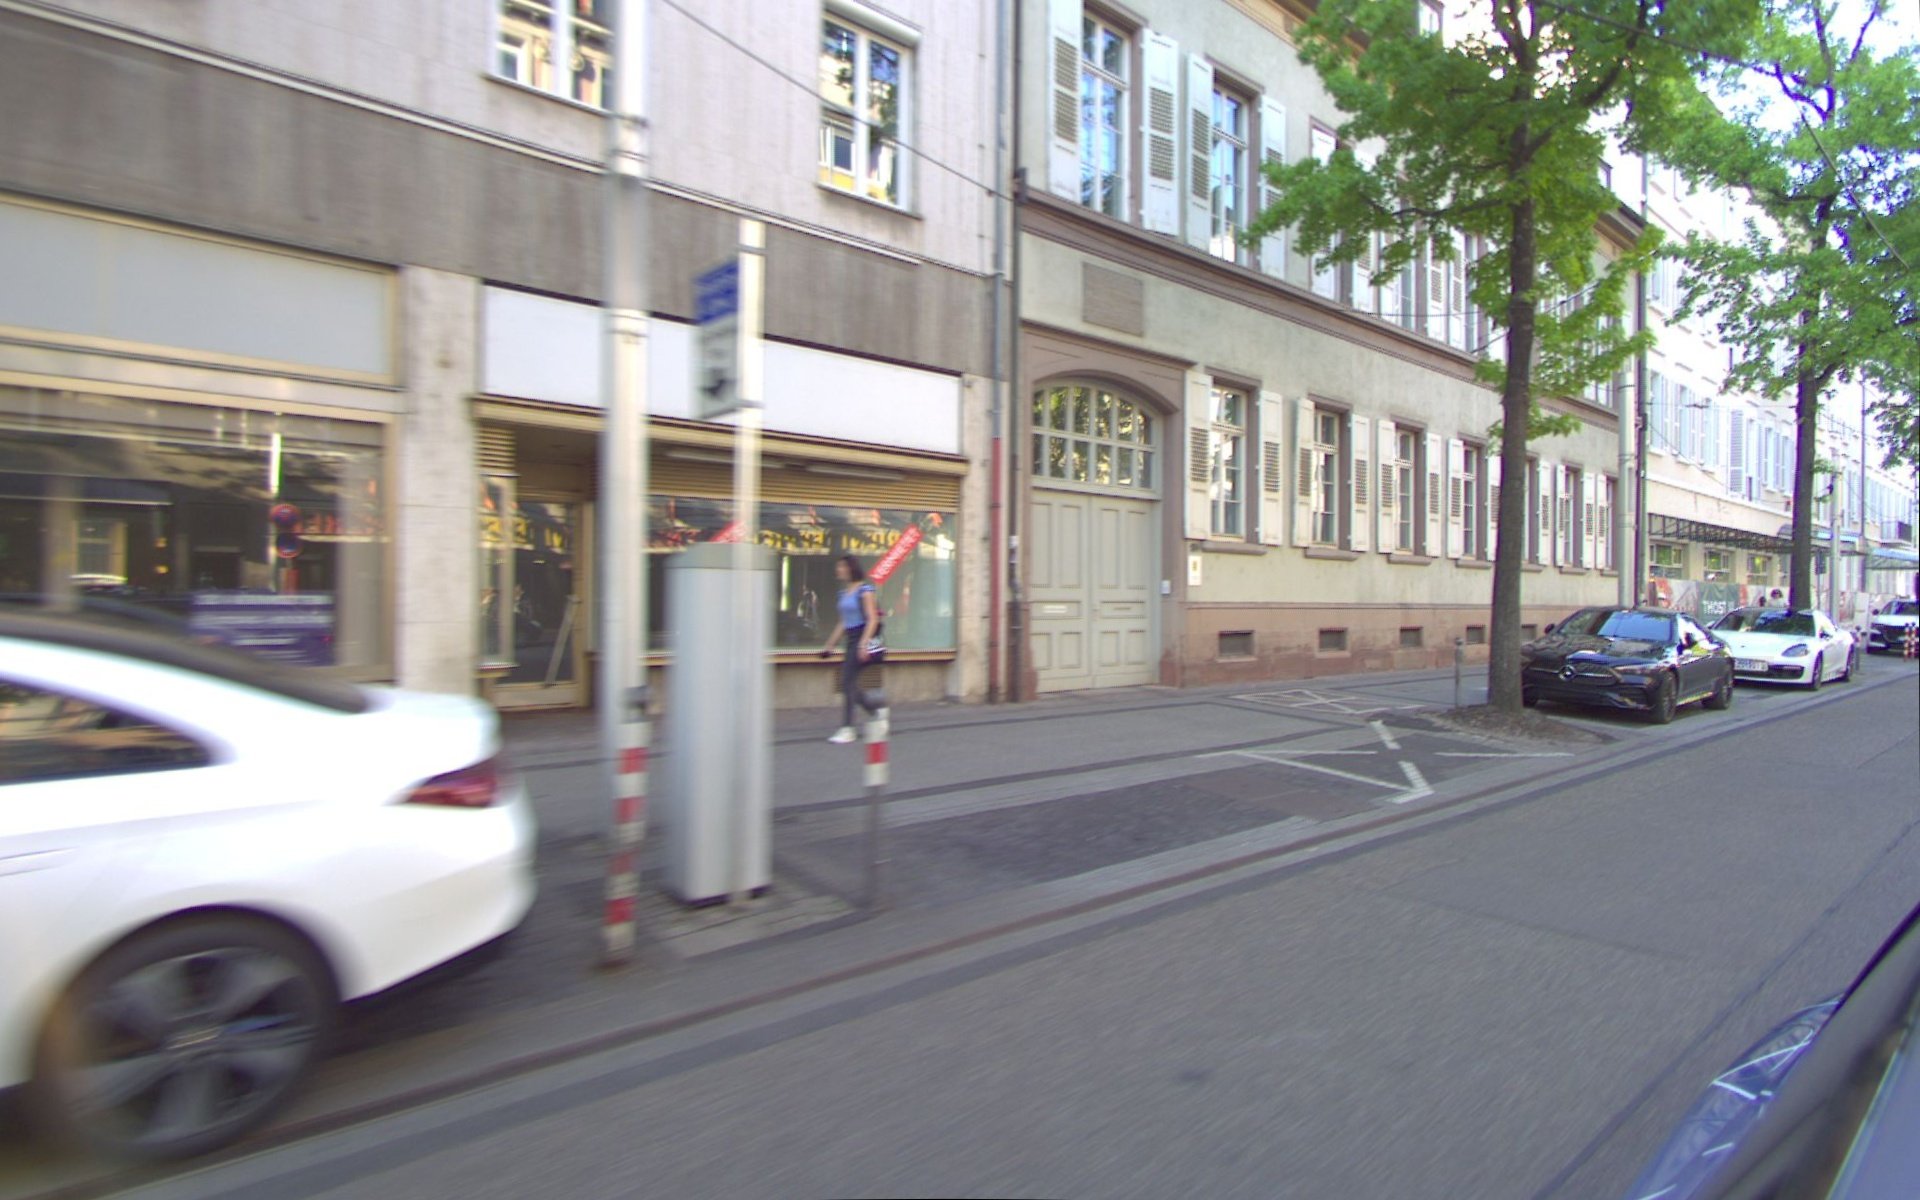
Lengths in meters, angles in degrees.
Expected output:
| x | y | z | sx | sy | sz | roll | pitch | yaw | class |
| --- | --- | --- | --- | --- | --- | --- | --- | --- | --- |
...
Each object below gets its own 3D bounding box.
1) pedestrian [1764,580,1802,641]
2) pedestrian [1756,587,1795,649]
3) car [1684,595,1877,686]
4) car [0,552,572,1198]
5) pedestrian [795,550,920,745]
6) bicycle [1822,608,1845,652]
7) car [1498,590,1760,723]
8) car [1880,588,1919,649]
| x | y | z | sx | sy | sz | roll | pitch | yaw | class |
| --- | --- | --- | --- | --- | --- | --- | --- | --- | --- |
| 26.356 | 0.320 | 32.405 | 1.034 | 1.910 | 0.714 | 1 | 1 | -40 | pedestrian |
| 21.358 | 0.462 | 26.512 | 0.784 | 1.593 | 0.650 | 0 | 0 | -40 | pedestrian |
| 15.695 | 0.682 | 19.270 | 4.800 | 1.438 | 1.917 | 0 | 3 | -40 | car |
| -3.681 | 0.636 | 2.618 | 4.595 | 1.516 | 1.999 | 0 | 3 | -39 | car |
| -0.939 | 0.400 | 9.287 | 0.872 | 1.685 | 0.659 | 0 | 2 | -41 | pedestrian |
| 24.222 | 0.817 | 28.070 | 0.417 | 1.114 | 1.959 | 2 | 2 | 40 | bicycle |
| 9.463 | 0.658 | 14.155 | 4.678 | 1.496 | 1.837 | 0 | 3 | -41 | car |
| 29.549 | 0.532 | 30.710 | 4.884 | 1.708 | 2.000 | -1 | 3 | -43 | car |
